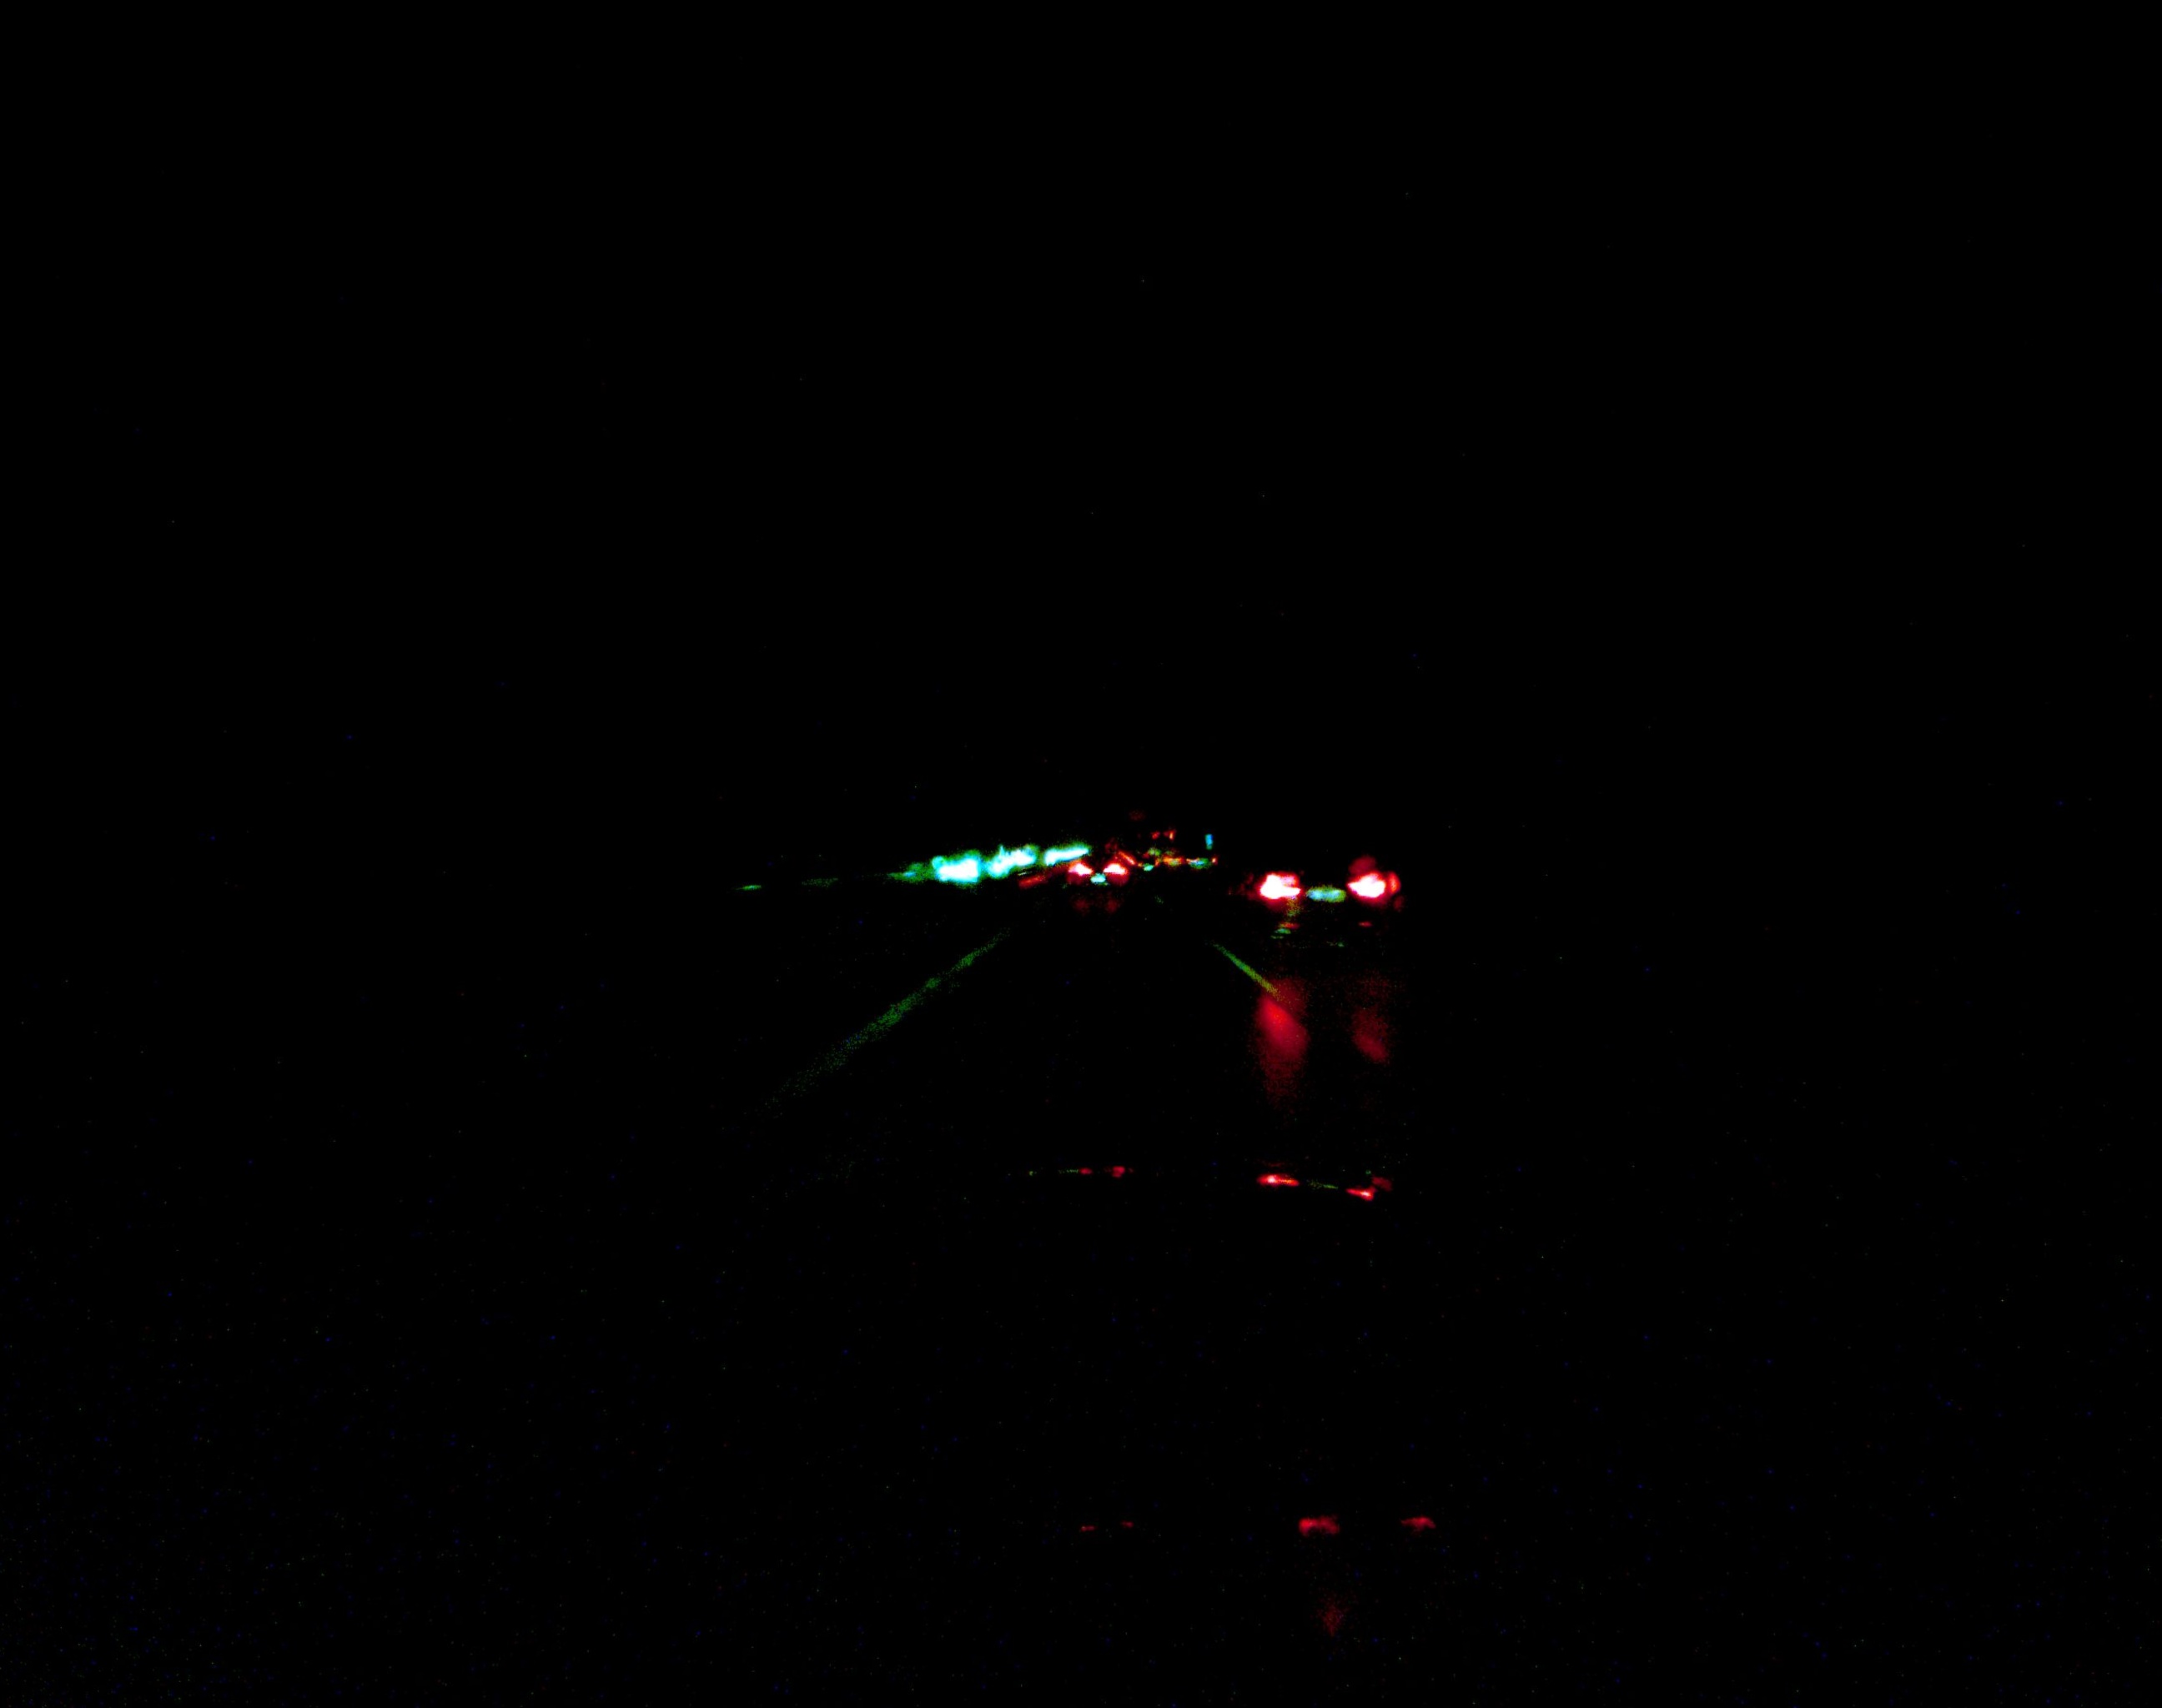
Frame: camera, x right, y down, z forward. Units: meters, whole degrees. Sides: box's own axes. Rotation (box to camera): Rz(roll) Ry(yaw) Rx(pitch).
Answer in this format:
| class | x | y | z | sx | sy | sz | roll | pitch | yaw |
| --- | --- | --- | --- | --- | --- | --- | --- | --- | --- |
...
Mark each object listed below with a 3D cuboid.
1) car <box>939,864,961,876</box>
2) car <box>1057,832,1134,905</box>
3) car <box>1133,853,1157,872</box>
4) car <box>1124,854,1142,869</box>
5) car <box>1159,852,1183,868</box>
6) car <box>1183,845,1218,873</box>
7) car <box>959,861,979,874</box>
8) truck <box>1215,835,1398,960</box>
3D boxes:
| class | x | y | z | sx | sy | sz | roll | pitch | yaw |
| --- | --- | --- | --- | --- | --- | --- | --- | --- | --- |
| car | -17.996 | 2.200 | 112.029 | 1.885 | 1.583 | 5.375 | -1 | 0 | 3 |
| car | 0.541 | 0.519 | 33.151 | 2.701 | 2.533 | 5.830 | -4 | 0 | 0 |
| car | 5.123 | 0.673 | 65.639 | 1.607 | 1.412 | 3.791 | -1 | 0 | 0 |
| car | 6.064 | 0.851 | 94.772 | 1.877 | 1.588 | 4.001 | -1 | 0 | 1 |
| car | 9.400 | 0.597 | 85.353 | 1.888 | 1.486 | 4.962 | -1 | 1 | 0 |
| car | 9.181 | 0.343 | 63.113 | 2.038 | 1.974 | 5.410 | -3 | 0 | 2 |
| car | -13.654 | 1.664 | 99.409 | 1.777 | 1.422 | 4.352 | -4 | 0 | -1 |
| truck | 3.482 | 0.600 | 13.582 | 1.837 | 1.696 | 4.856 | -1 | 0 | 2 |
